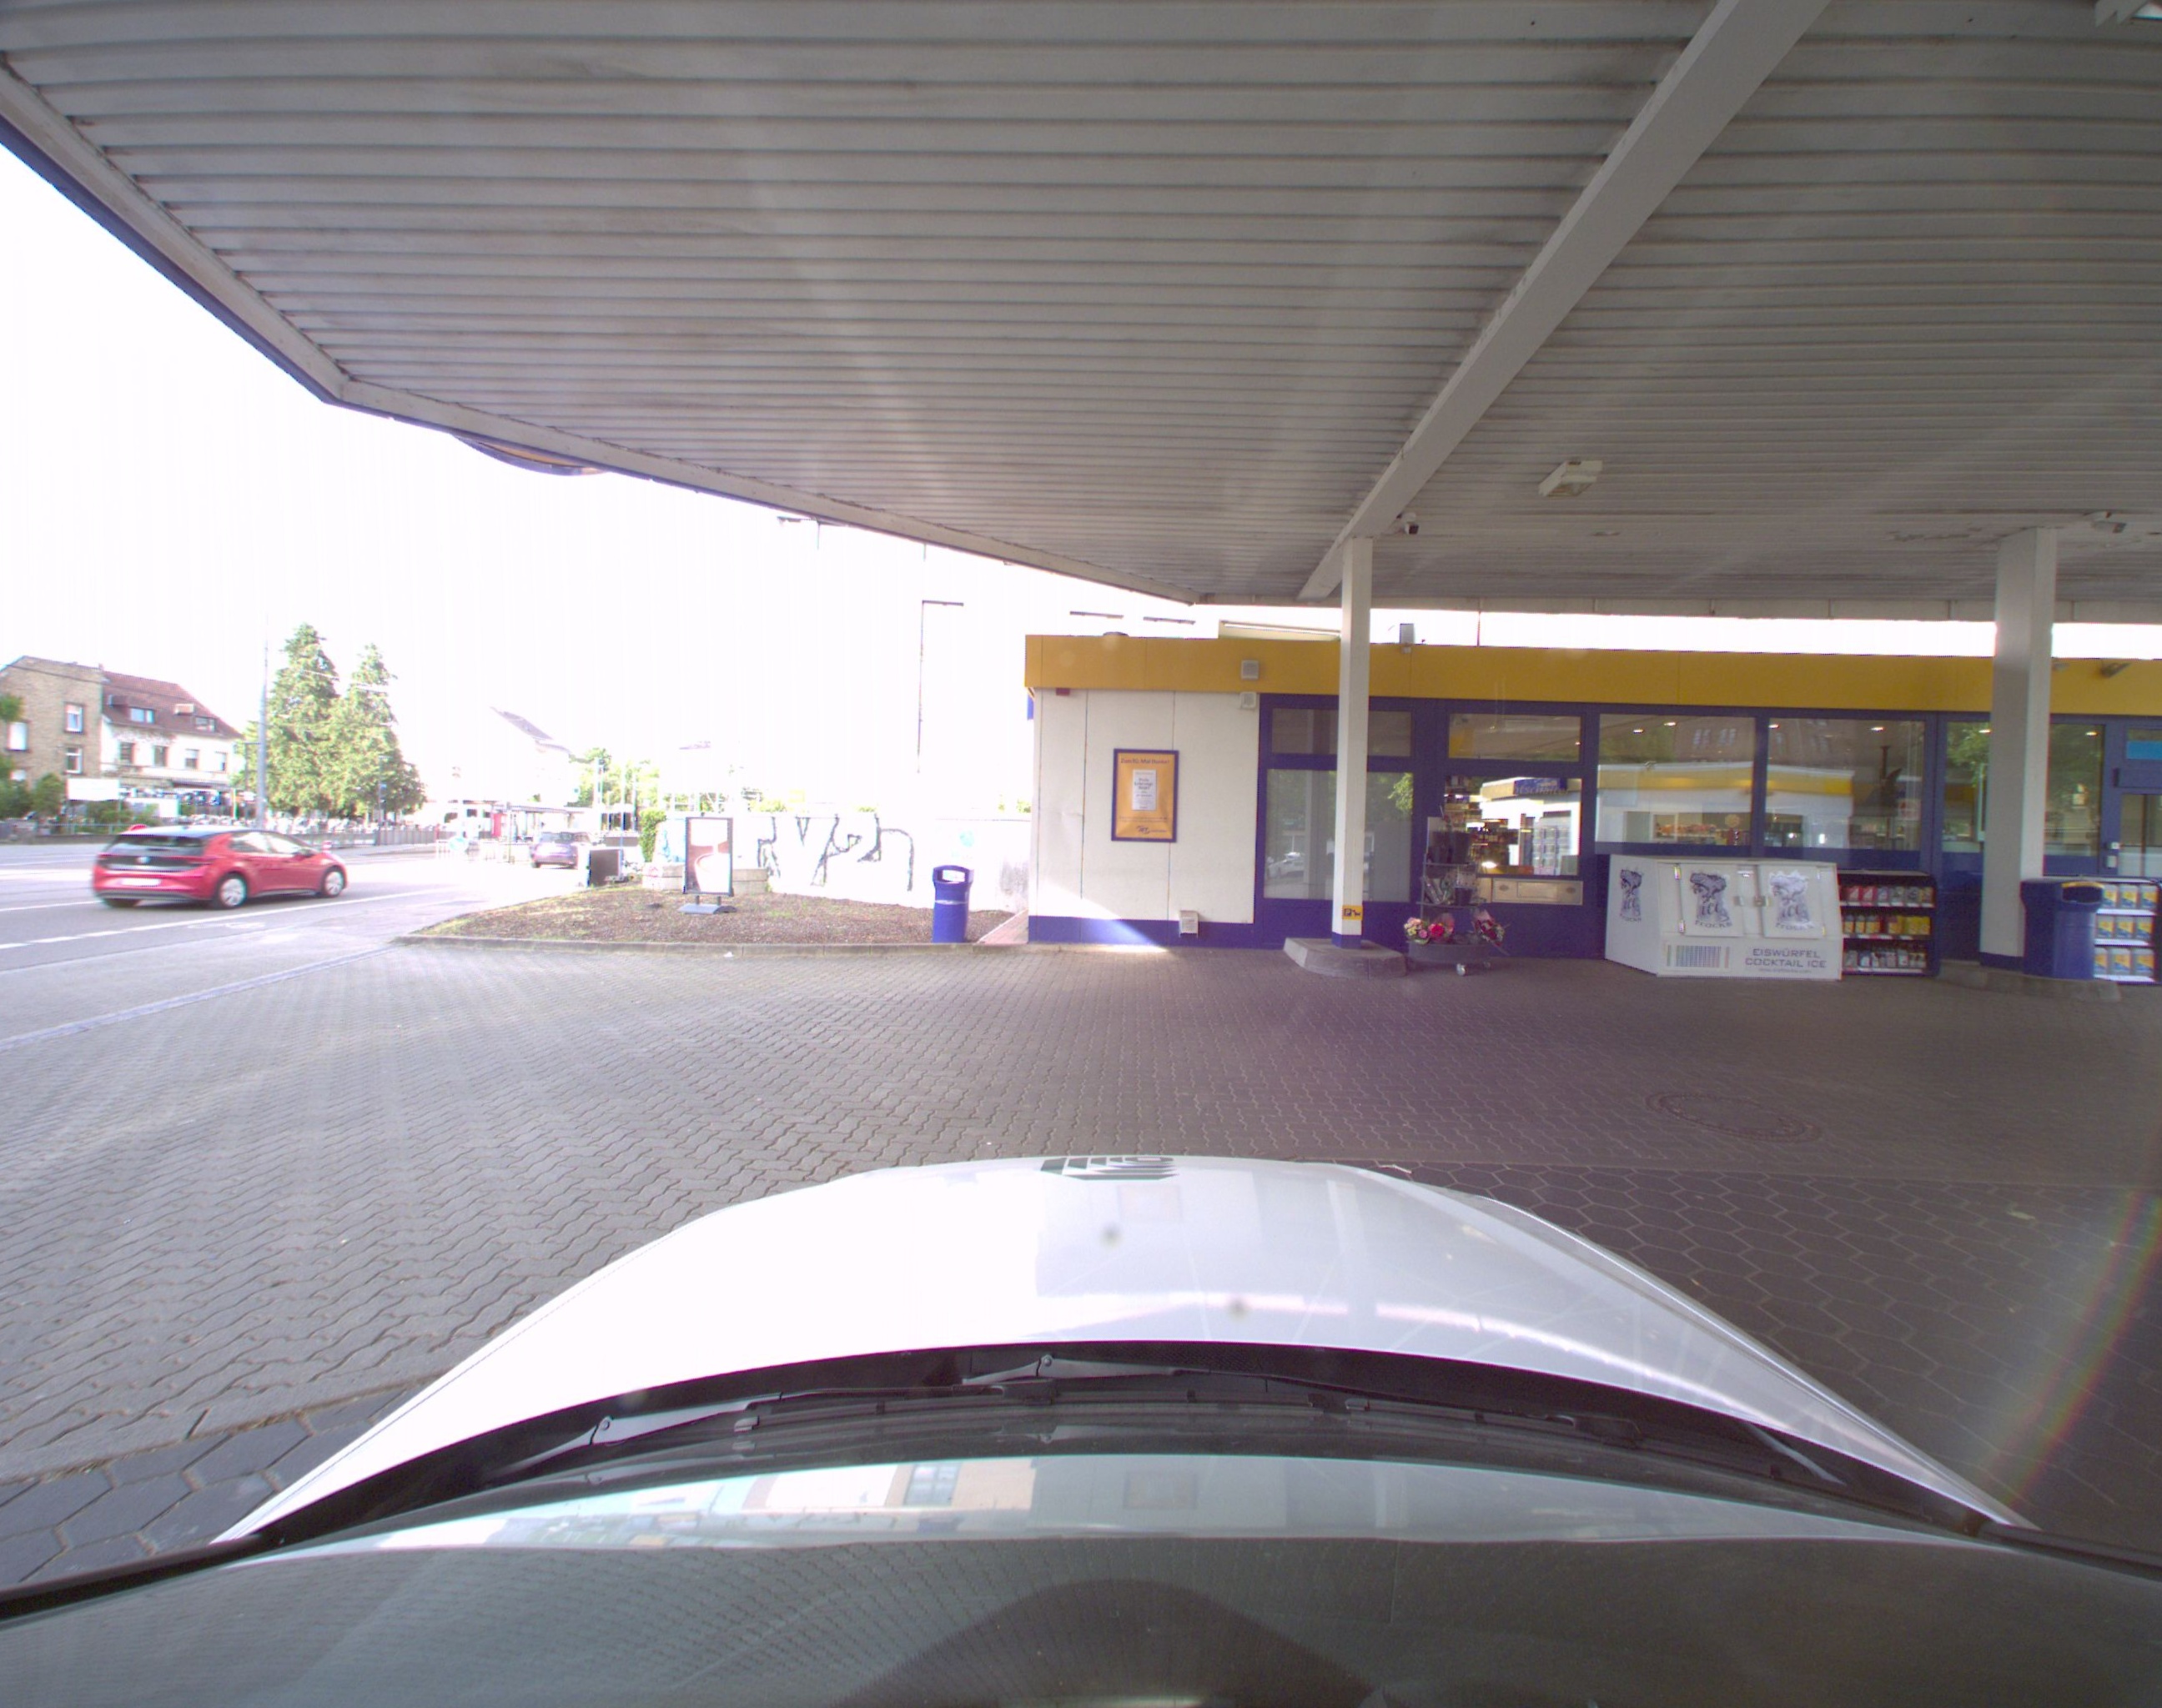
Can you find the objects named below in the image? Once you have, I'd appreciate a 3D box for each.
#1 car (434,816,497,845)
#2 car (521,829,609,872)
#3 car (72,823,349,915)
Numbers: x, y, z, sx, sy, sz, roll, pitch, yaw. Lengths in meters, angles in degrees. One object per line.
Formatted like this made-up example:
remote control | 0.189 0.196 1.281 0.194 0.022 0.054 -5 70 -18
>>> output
car | -43.589 -1.636 57.795 1.965 1.889 4.390 1 0 -14
car | -20.321 -0.192 32.254 1.728 1.542 3.981 2 1 -15
car | -16.948 0.237 16.201 1.767 1.543 4.111 2 0 -15
